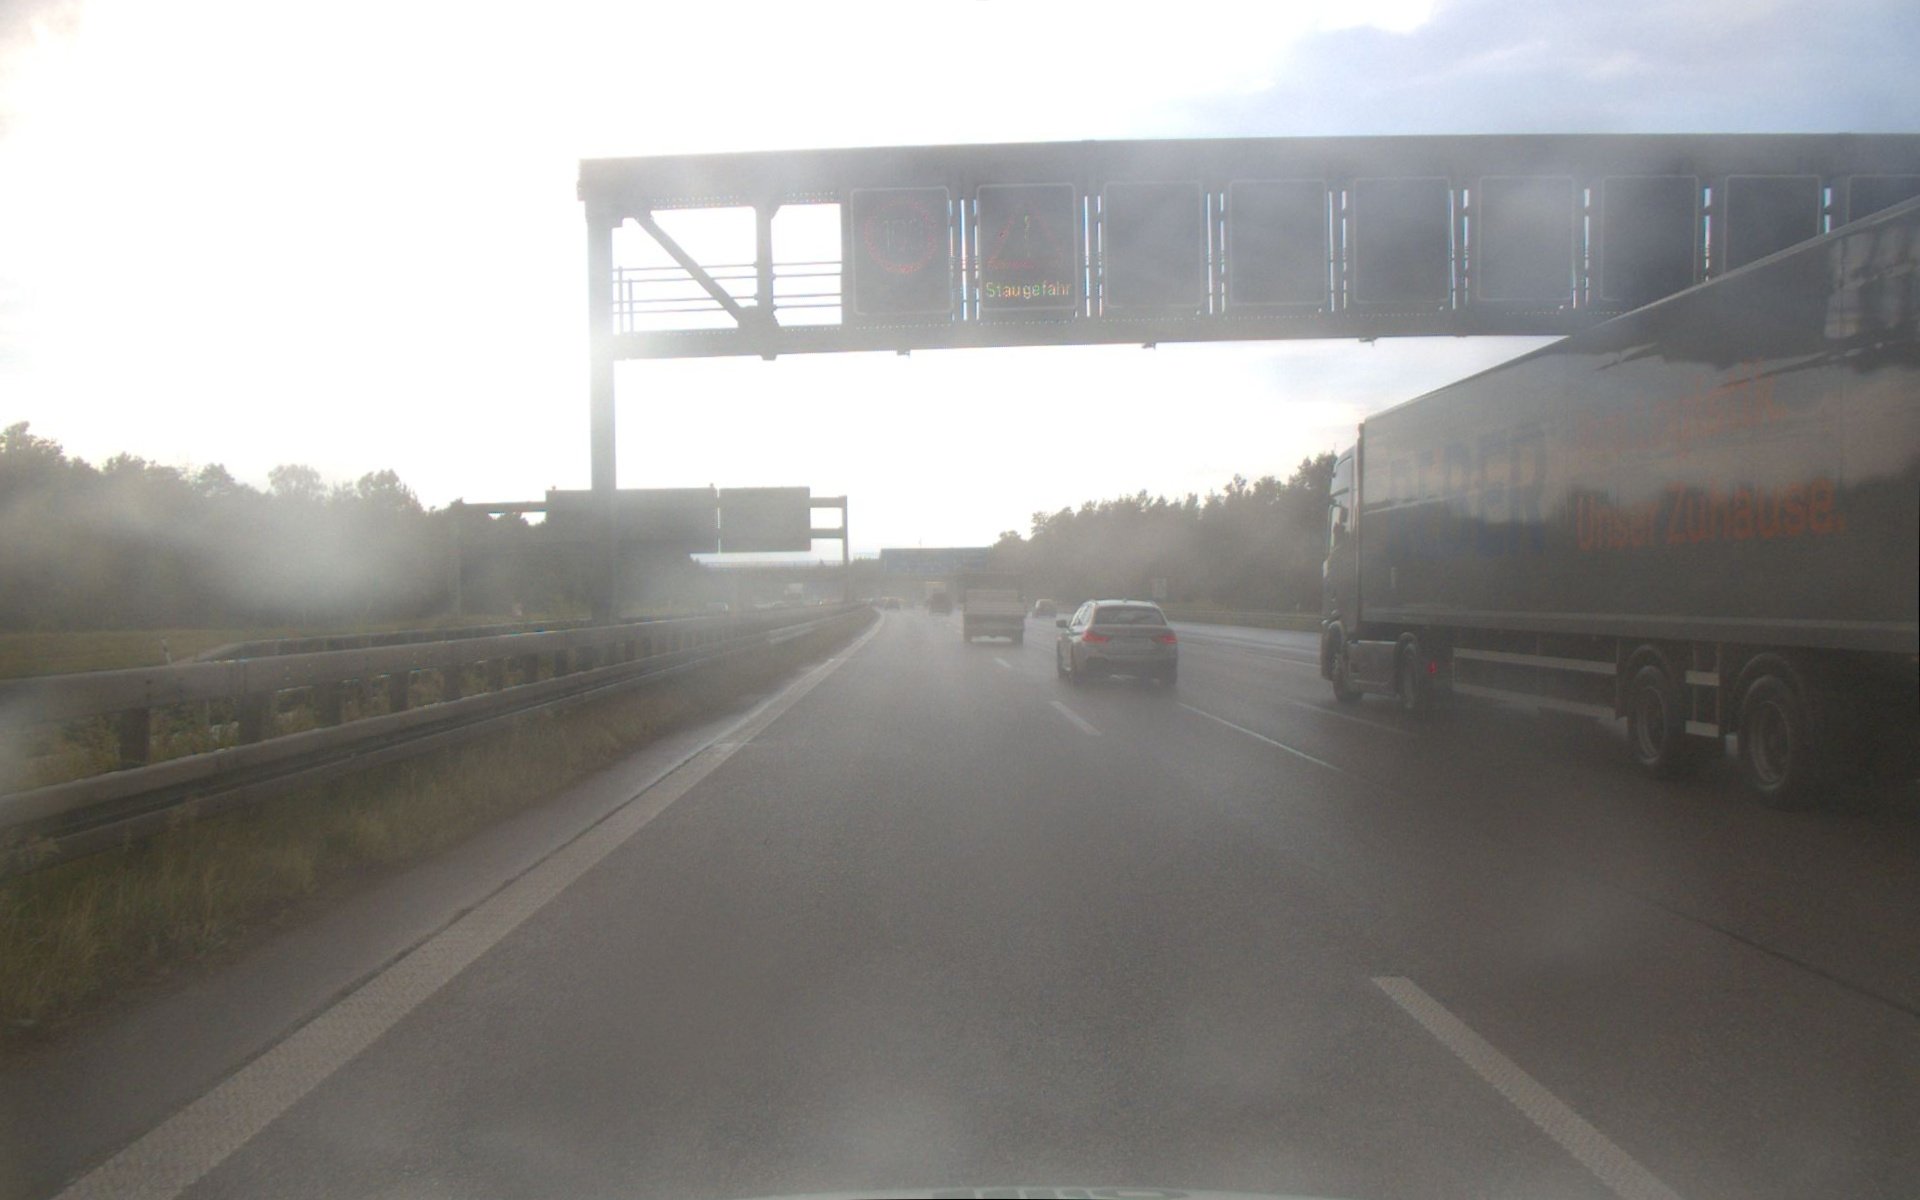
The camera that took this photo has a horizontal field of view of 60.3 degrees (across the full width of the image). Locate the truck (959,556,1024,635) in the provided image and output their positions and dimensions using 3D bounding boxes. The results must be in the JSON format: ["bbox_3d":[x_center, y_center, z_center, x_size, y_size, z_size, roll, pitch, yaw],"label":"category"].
[{"bbox_3d":[1.098,-0.163,55.760,2.093,2.532,5.314,0,0,2],"label":"truck"}]

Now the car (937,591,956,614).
[{"bbox_3d":[-1.251,0.206,150.003,1.640,2.049,3.999,1,0,-1],"label":"car"}]

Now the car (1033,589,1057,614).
[{"bbox_3d":[7.130,0.104,138.644,1.952,2.049,4.001,1,0,2],"label":"car"}]

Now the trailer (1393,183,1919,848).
[{"bbox_3d":[6.956,-0.524,15.217,2.276,4.071,13.409,0,0,-1],"label":"trailer"}]

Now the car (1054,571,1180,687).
[{"bbox_3d":[2.767,0.461,30.155,2.034,1.918,5.013,1,0,3],"label":"car"}]

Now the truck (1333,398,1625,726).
[{"bbox_3d":[6.852,-0.457,22.577,2.247,3.935,5.391,0,0,-1],"label":"truck"}]

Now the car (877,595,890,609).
[{"bbox_3d":[-11.947,0.301,257.818,1.758,2.049,4.000,1,0,1],"label":"car"}]

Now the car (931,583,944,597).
[{"bbox_3d":[-3.523,-1.502,254.433,1.953,2.049,3.999,1,0,-1],"label":"car"}]

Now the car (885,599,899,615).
[{"bbox_3d":[-8.649,0.864,210.522,1.584,2.049,3.999,1,0,-1],"label":"car"}]

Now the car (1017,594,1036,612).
[{"bbox_3d":[6.678,0.299,166.964,1.705,1.718,3.999,0,0,-1],"label":"car"}]
